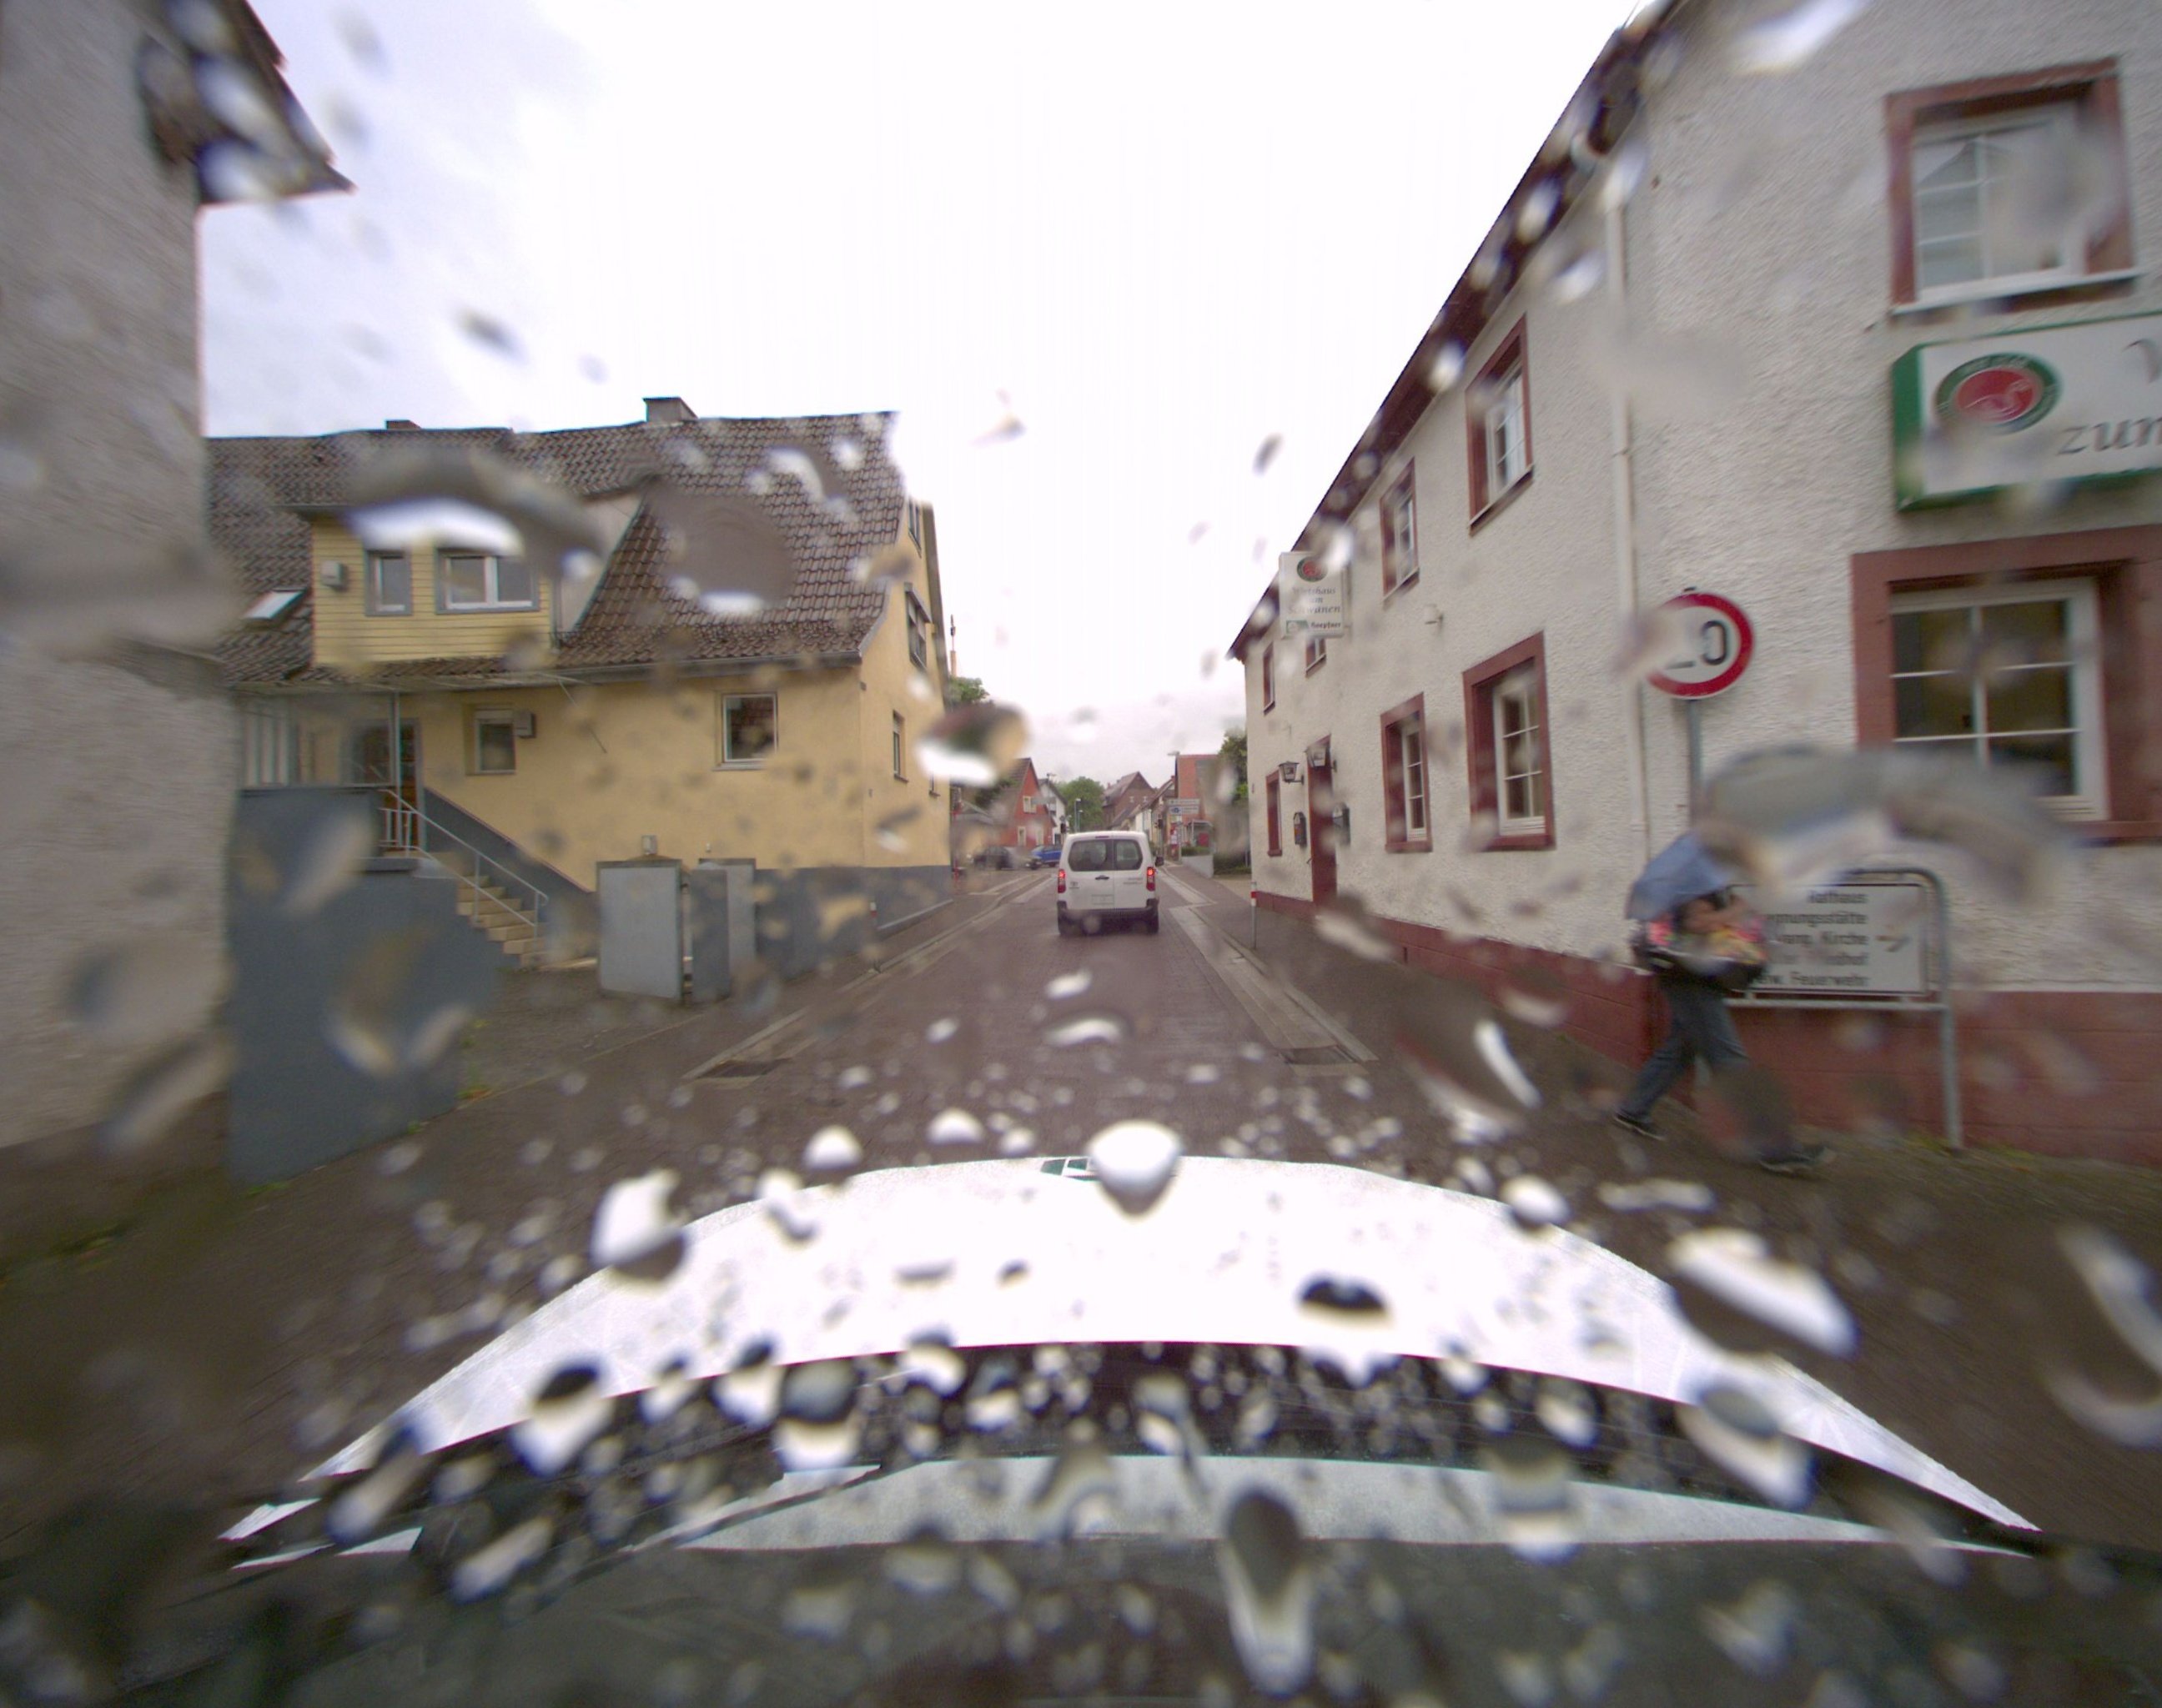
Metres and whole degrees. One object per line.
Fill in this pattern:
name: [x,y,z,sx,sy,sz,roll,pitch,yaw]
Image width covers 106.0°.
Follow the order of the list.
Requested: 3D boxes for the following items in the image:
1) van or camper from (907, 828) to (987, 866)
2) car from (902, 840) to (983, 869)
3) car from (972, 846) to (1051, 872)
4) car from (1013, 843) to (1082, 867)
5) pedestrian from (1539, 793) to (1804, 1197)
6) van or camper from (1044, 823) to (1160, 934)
van or camper: [-9.263,-0.464,56.232,5.094,2.435,2.225,-2,1,28]
car: [-8.219,0.005,48.430,4.407,1.549,1.893,1,3,23]
car: [-4.135,0.327,48.387,4.262,1.477,1.860,-1,0,23]
car: [-2.204,0.075,53.434,4.017,1.373,2.088,-2,-1,-35]
pedestrian: [2.974,0.583,4.106,1.002,1.735,0.802,-3,2,-36]
van or camper: [0.375,0.414,15.811,1.937,1.851,4.000,-1,0,0]
